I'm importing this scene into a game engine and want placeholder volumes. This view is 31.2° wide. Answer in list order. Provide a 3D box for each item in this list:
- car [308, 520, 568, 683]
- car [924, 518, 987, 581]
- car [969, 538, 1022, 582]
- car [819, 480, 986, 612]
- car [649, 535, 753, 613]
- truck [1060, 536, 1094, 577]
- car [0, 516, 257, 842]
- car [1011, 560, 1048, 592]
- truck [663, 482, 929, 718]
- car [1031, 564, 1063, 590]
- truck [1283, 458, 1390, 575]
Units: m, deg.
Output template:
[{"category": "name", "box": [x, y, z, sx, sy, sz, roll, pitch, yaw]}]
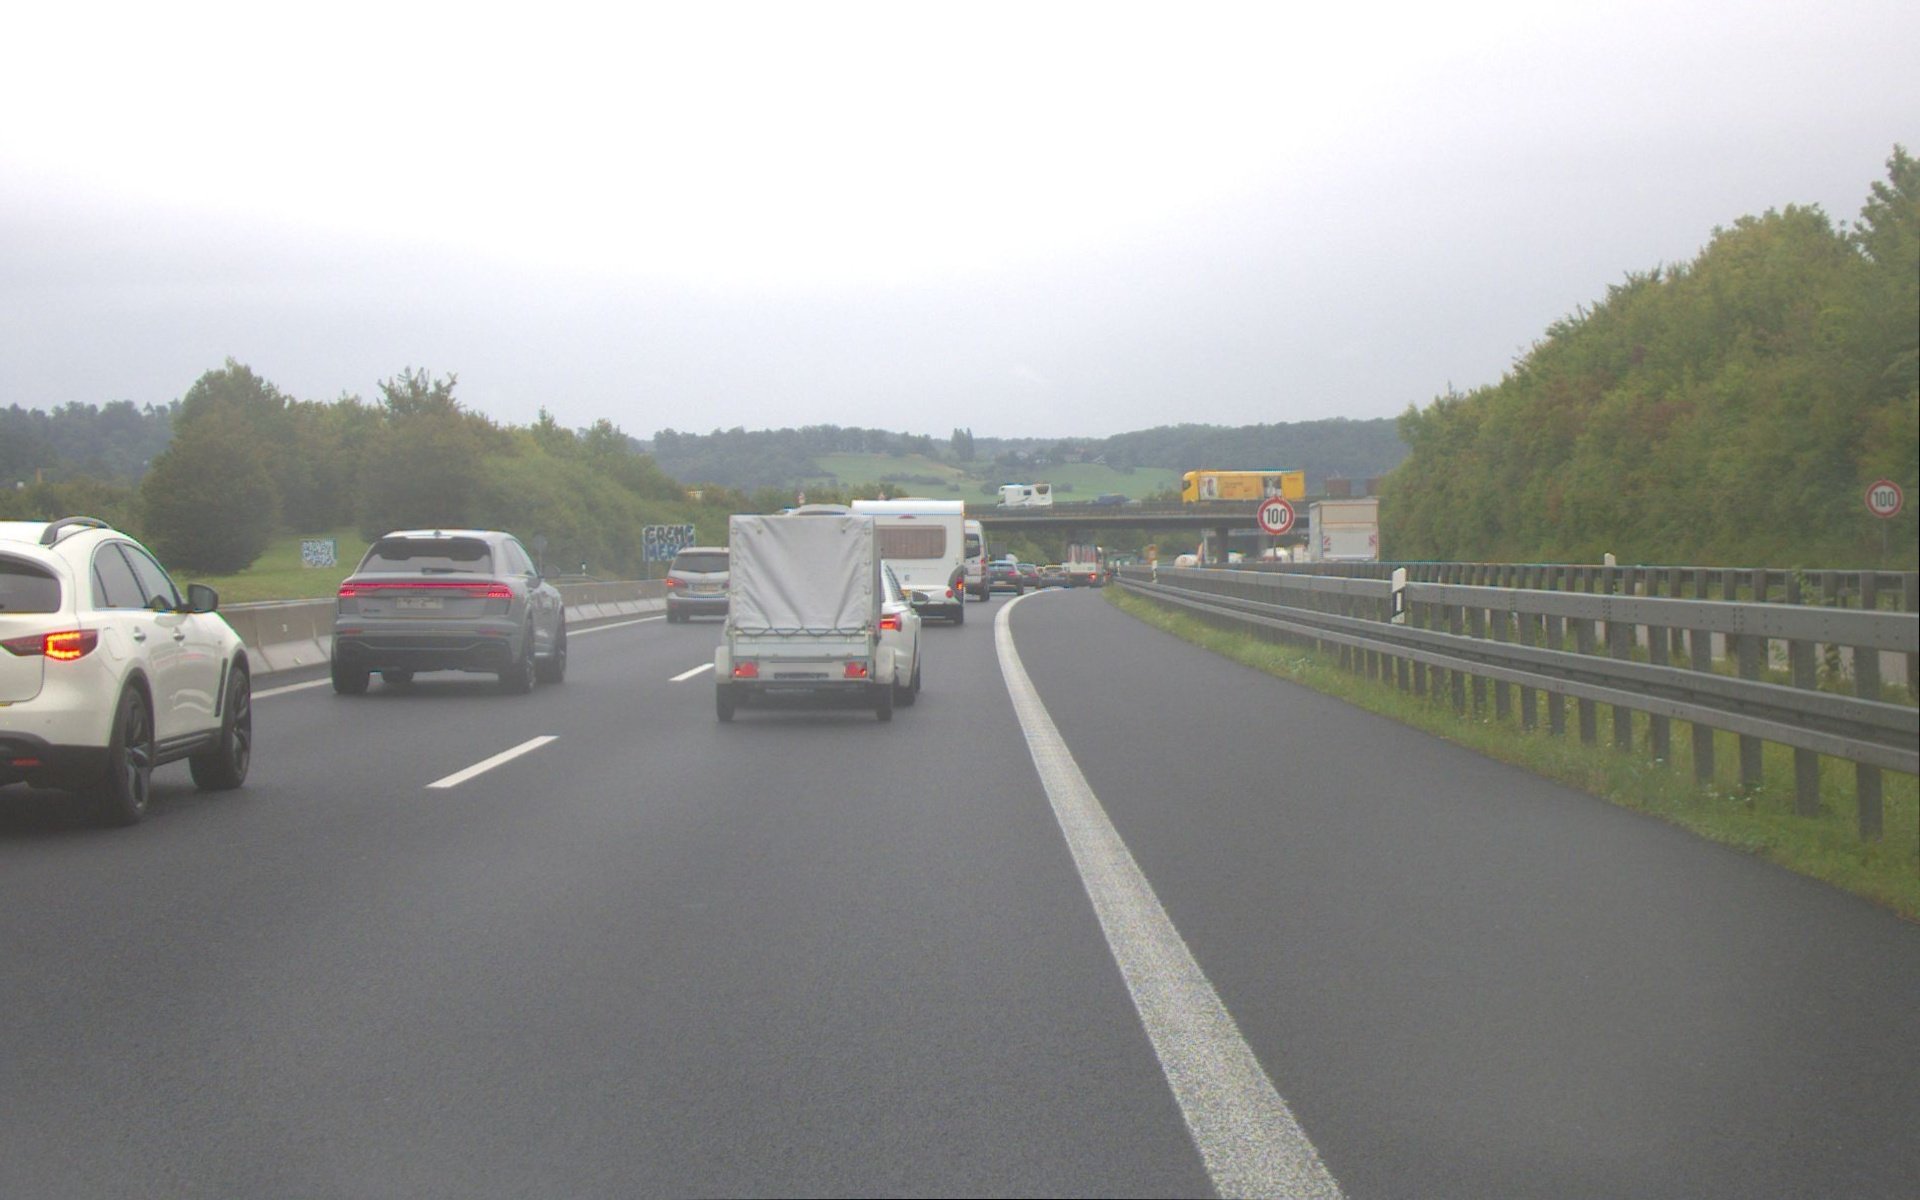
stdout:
[{"category": "car", "box": [-5.483, -0.017, 36.692, 2.174, 1.626, 4.501, 0, 1, -1]}, {"category": "car", "box": [-0.167, -1.655, 113.971, 1.993, 2.029, 4.152, 1, 1, -1]}, {"category": "car", "box": [1.453, -1.626, 139.444, 1.994, 1.744, 4.000, 1, 1, 2]}, {"category": "car", "box": [-1.118, -1.124, 71.358, 3.017, 2.607, 6.074, 0, 1, 3]}, {"category": "car", "box": [-5.515, -0.581, 73.535, 1.900, 1.607, 4.017, 0, 1, 0]}, {"category": "truck", "box": [8.918, -3.296, 261.435, 2.278, 3.072, 7.245, 1, 1, 4]}, {"category": "car", "box": [-5.387, 0.371, 19.478, 1.976, 1.633, 4.501, 0, 1, -1]}, {"category": "car", "box": [3.933, -1.377, 195.012, 1.994, 1.744, 4.000, 1, 1, 3]}, {"category": "truck", "box": [-1.410, -0.061, 32.504, 2.019, 1.979, 7.213, 0, 1, 1]}, {"category": "car", "box": [5.877, -1.544, 231.457, 1.994, 1.744, 4.000, 1, 1, 4]}, {"category": "truck", "box": [16.817, -3.718, 154.406, 4.094, 5.086, 10.463, 0, 1, 3]}]
